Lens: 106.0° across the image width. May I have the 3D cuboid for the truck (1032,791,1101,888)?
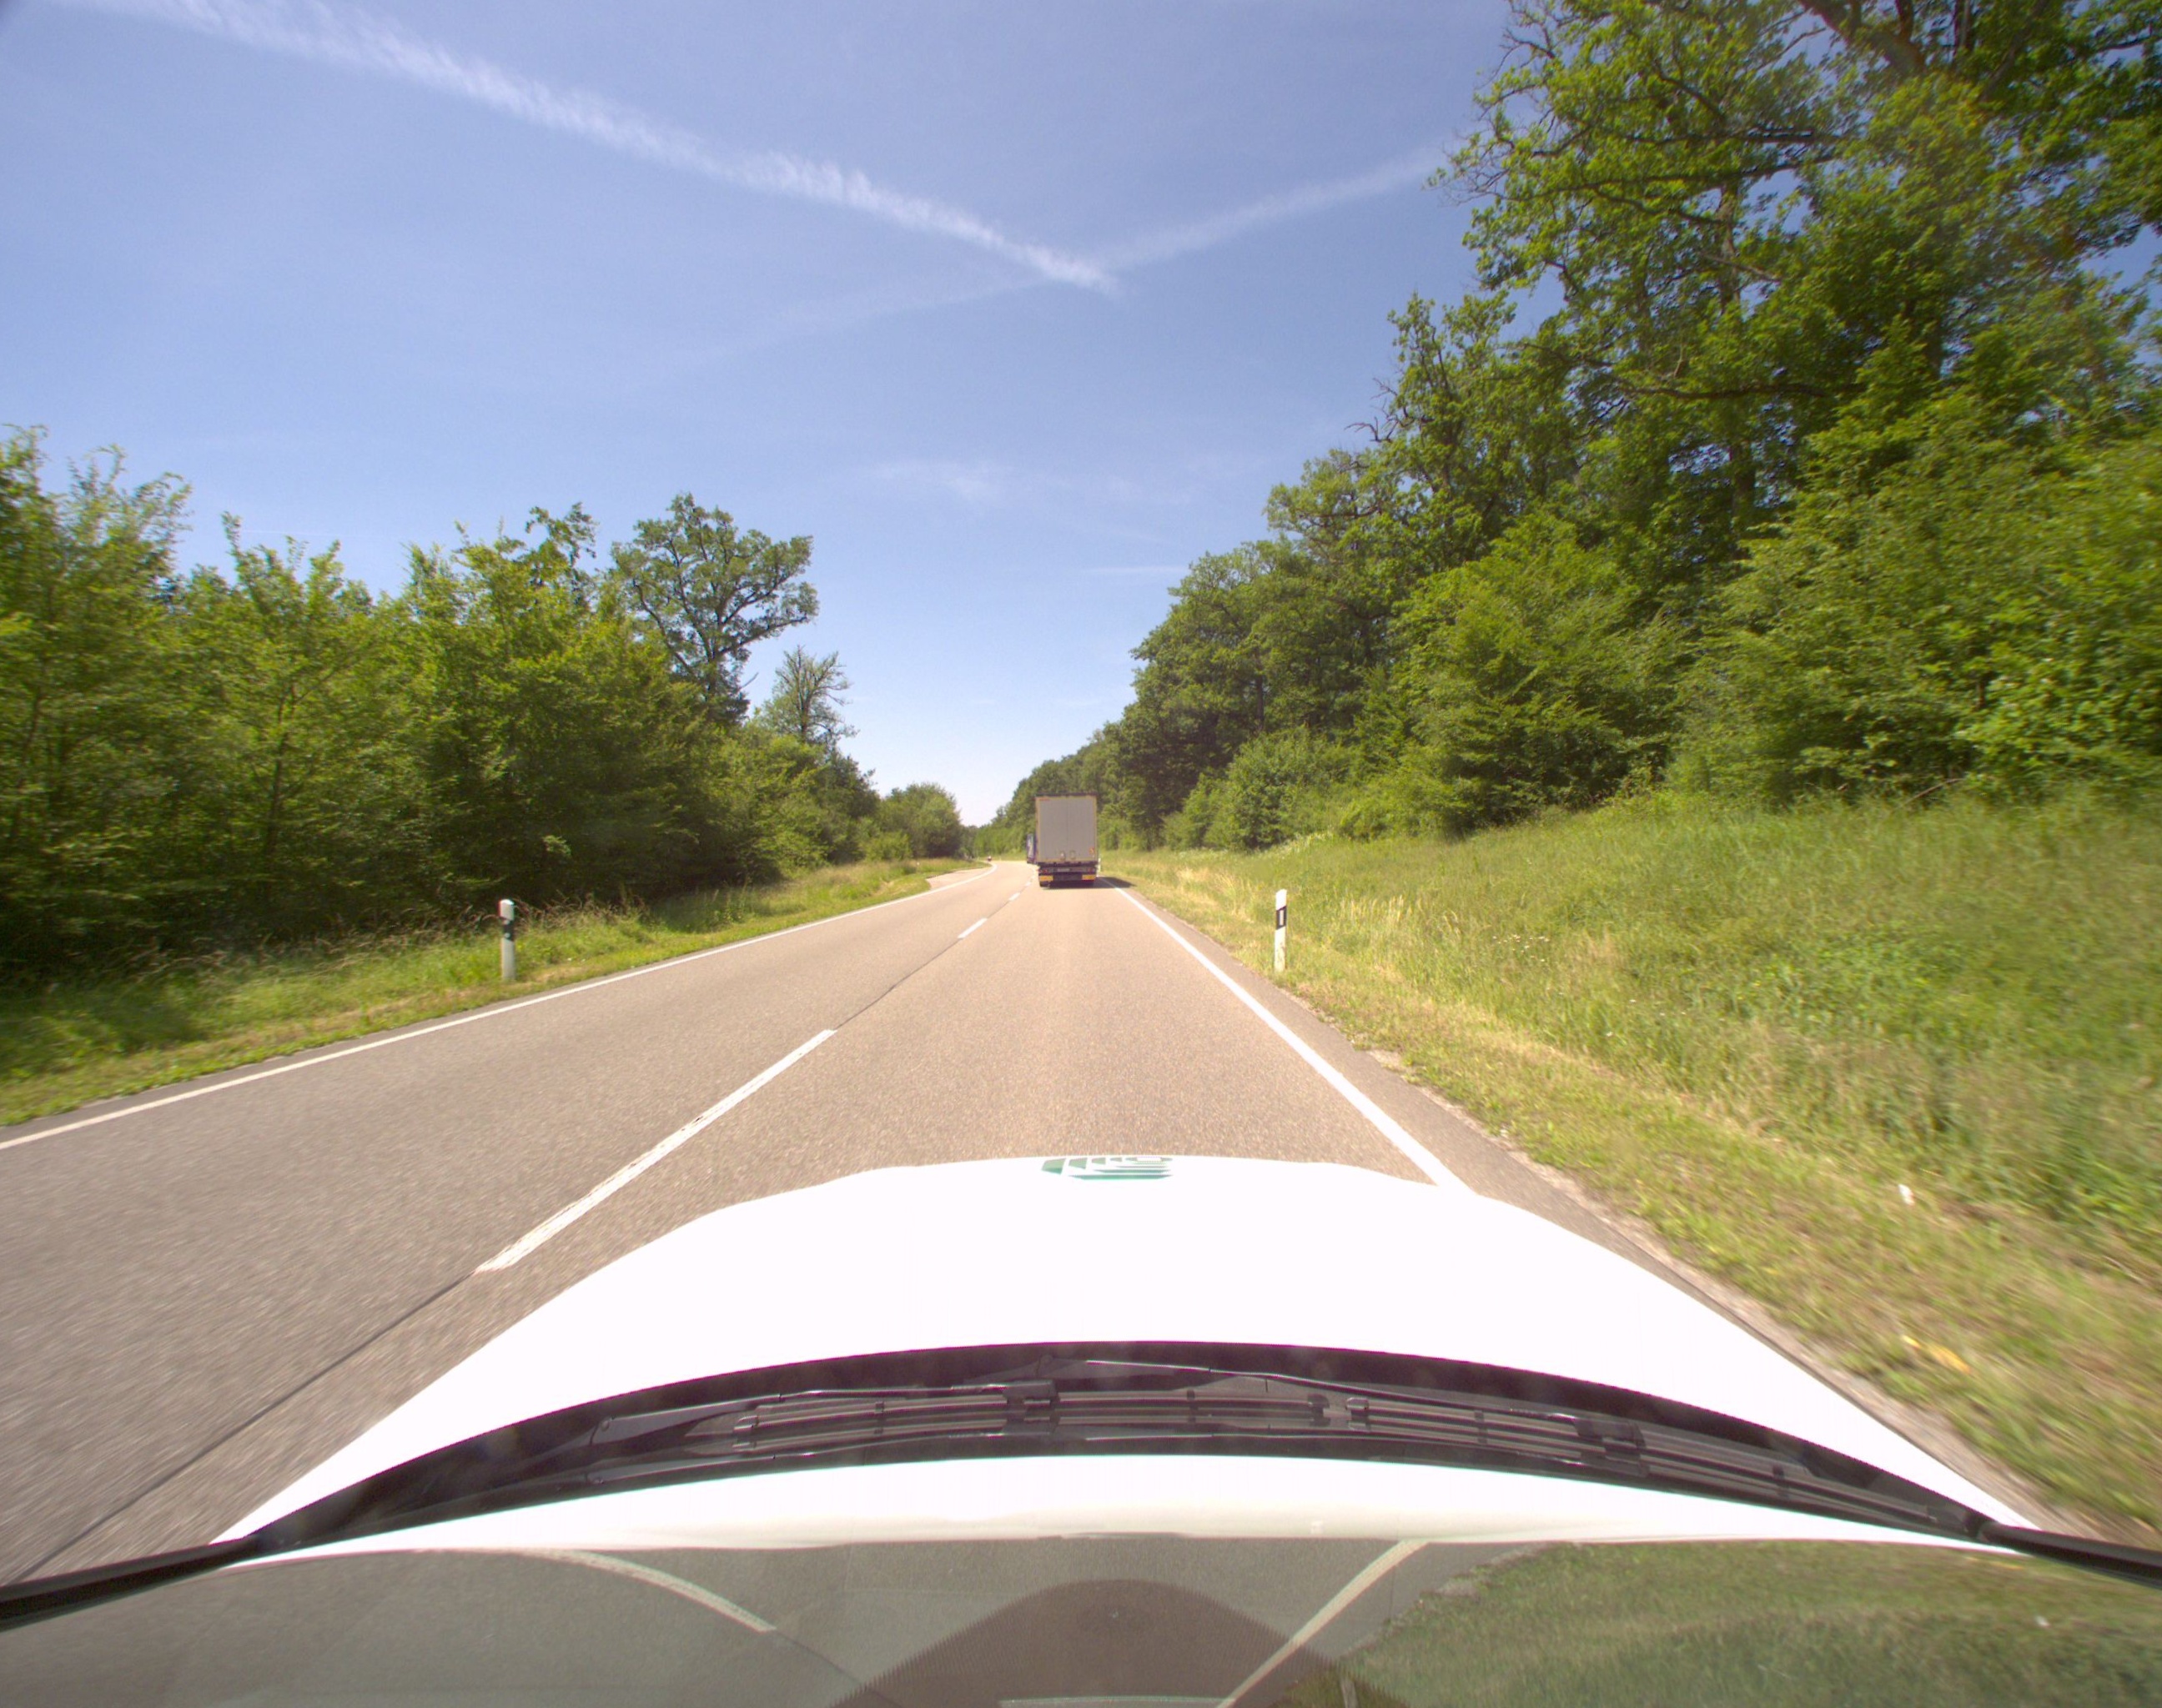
[{"bbox_3d":[-0.701,-0.598,39.389,2.753,3.947,12.191,-1,0,-1],"label":"truck"}]

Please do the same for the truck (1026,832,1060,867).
[{"bbox_3d":[-5.271,-0.602,110.212,3.788,4.373,14.889,0,0,-6],"label":"truck"}]
